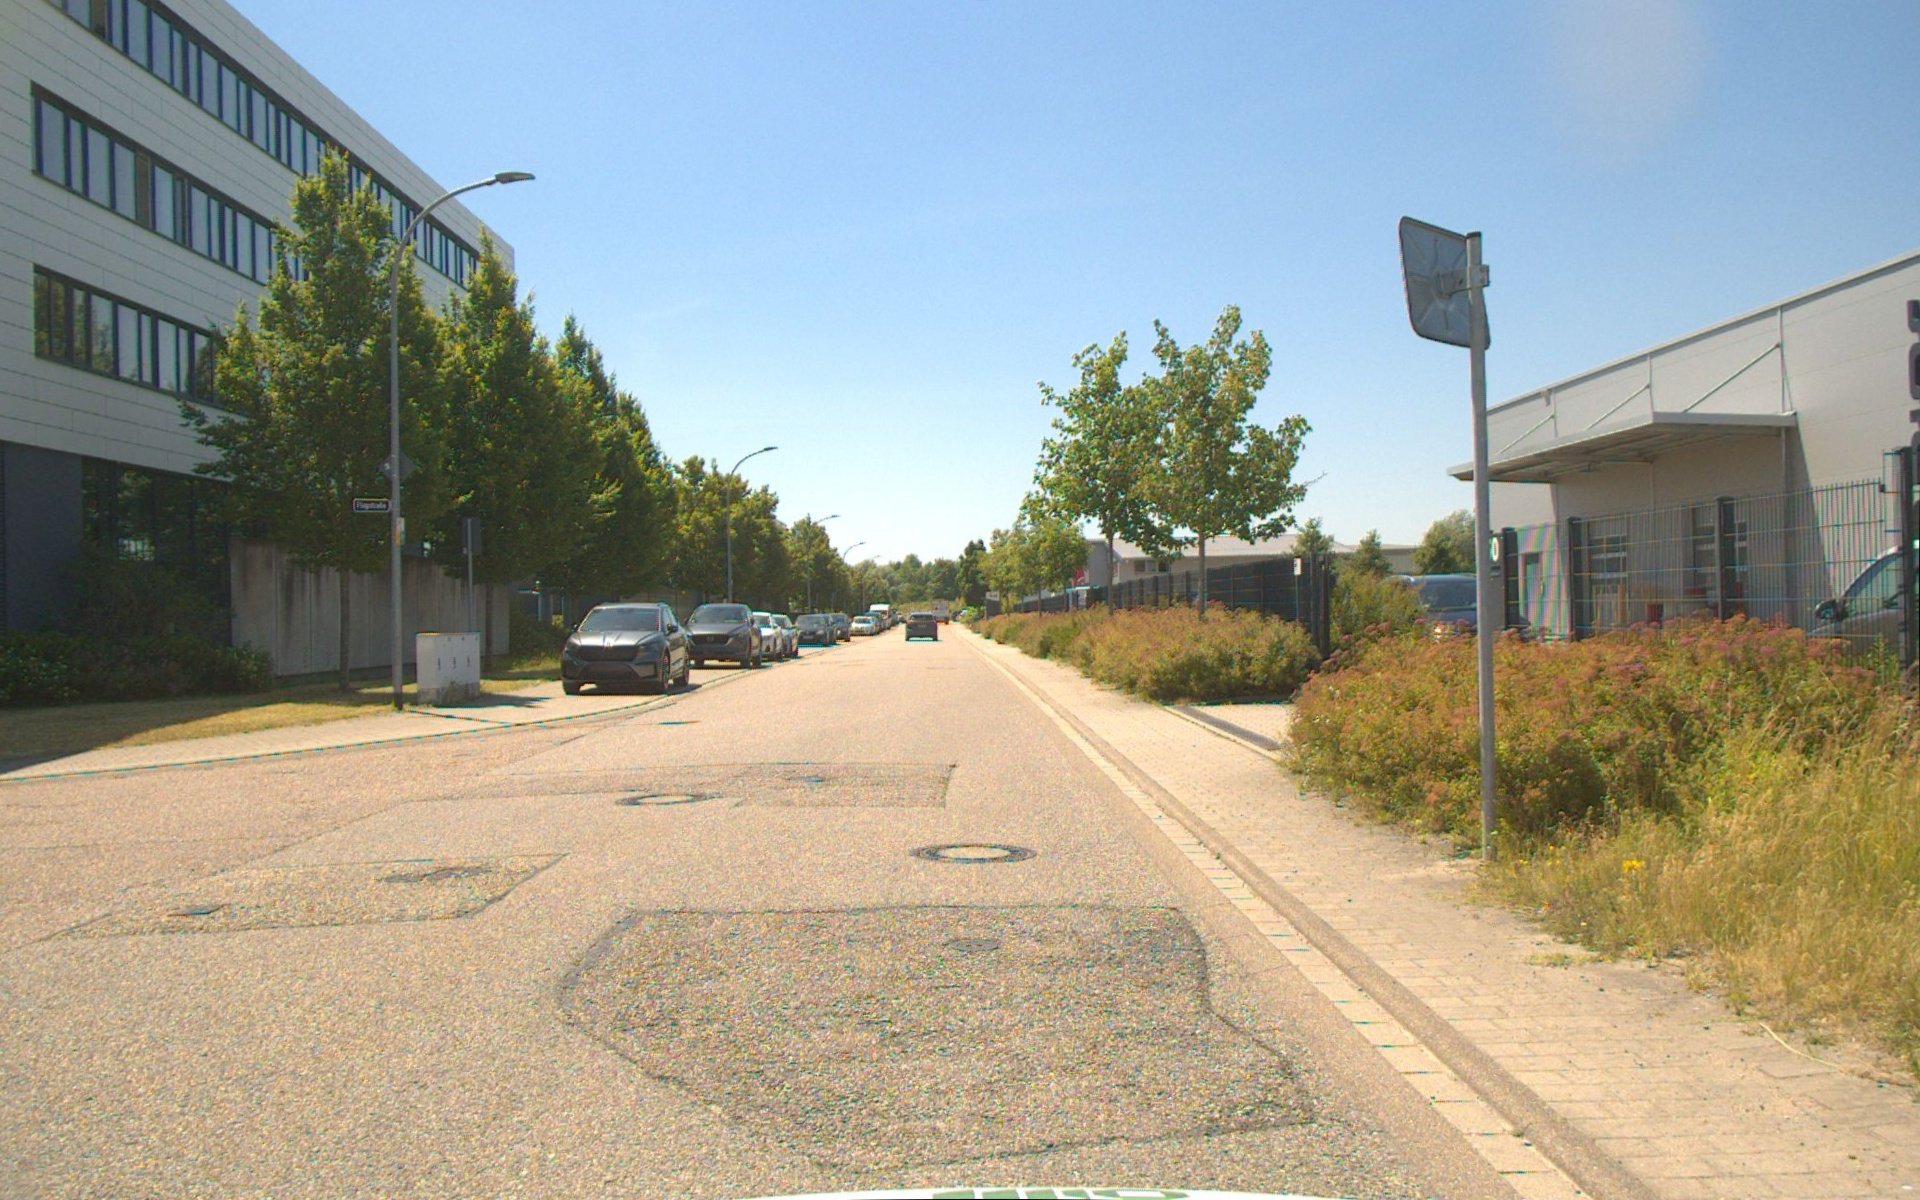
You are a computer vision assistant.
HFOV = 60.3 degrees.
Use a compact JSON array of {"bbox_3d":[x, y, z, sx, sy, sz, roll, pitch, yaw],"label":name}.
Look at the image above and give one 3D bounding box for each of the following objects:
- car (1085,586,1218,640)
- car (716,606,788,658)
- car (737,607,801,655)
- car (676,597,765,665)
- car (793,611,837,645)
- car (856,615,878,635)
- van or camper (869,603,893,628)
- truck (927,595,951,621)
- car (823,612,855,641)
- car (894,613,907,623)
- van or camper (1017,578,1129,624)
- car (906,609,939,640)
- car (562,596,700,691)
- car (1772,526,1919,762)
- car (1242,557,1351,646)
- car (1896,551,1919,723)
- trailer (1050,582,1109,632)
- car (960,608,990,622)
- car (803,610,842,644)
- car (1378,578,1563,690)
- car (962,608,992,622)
[{"bbox_3d":[7.607,0.523,66.035,5.011,1.906,1.902,-2,-1,-2],"label":"car"},{"bbox_3d":[-6.415,0.963,51.315,1.735,1.456,4.200,-1,1,-1],"label":"car"},{"bbox_3d":[-6.442,1.022,56.056,1.735,1.456,3.939,-1,1,-1],"label":"car"},{"bbox_3d":[-6.291,0.779,43.907,1.735,1.652,4.581,-1,1,-1],"label":"car"},{"bbox_3d":[-6.853,1.302,78.552,1.735,1.456,4.200,-1,1,-1],"label":"car"},{"bbox_3d":[-7.256,1.931,128.749,1.686,1.502,3.855,0,-1,-3],"label":"car"},{"bbox_3d":[-8.149,1.653,171.224,2.035,2.526,6.131,1,-1,1],"label":"van or camper"},{"bbox_3d":[-2.546,1.012,201.322,2.873,3.026,6.418,1,-1,-1],"label":"truck"},{"bbox_3d":[-7.092,1.535,97.155,1.735,1.640,4.245,0,-1,-2],"label":"car"},{"bbox_3d":[-8.927,2.692,247.719,1.762,1.513,4.252,0,0,1],"label":"car"},{"bbox_3d":[6.928,0.055,101.994,6.621,2.630,2.635,-2,-1,-2],"label":"van or camper"},{"bbox_3d":[-2.083,1.366,92.447,1.753,1.652,3.808,1,-1,-1],"label":"car"},{"bbox_3d":[-6.068,0.786,30.982,1.735,1.616,4.480,-1,-1,-1],"label":"car"},{"bbox_3d":[7.232,0.287,11.851,1.437,1.601,2.661,-2,-1,-1],"label":"car"},{"bbox_3d":[8.694,0.044,43.050,1.839,2.123,4.224,-2,0,-1],"label":"car"},{"bbox_3d":[9.287,0.288,13.320,1.484,1.522,3.330,-2,-1,-2],"label":"car"},{"bbox_3d":[6.179,0.354,85.629,2.767,2.445,1.418,-2,-1,-5],"label":"trailer"},{"bbox_3d":[1.949,1.975,219.146,3.799,1.780,1.750,1,-1,-3],"label":"car"},{"bbox_3d":[-6.993,1.372,84.295,1.735,1.640,4.850,0,-1,-2],"label":"car"},{"bbox_3d":[8.070,0.482,26.460,1.773,1.579,3.576,-2,1,-1],"label":"car"},{"bbox_3d":[2.169,1.945,216.440,3.799,1.780,1.750,1,-1,-3],"label":"car"}]
